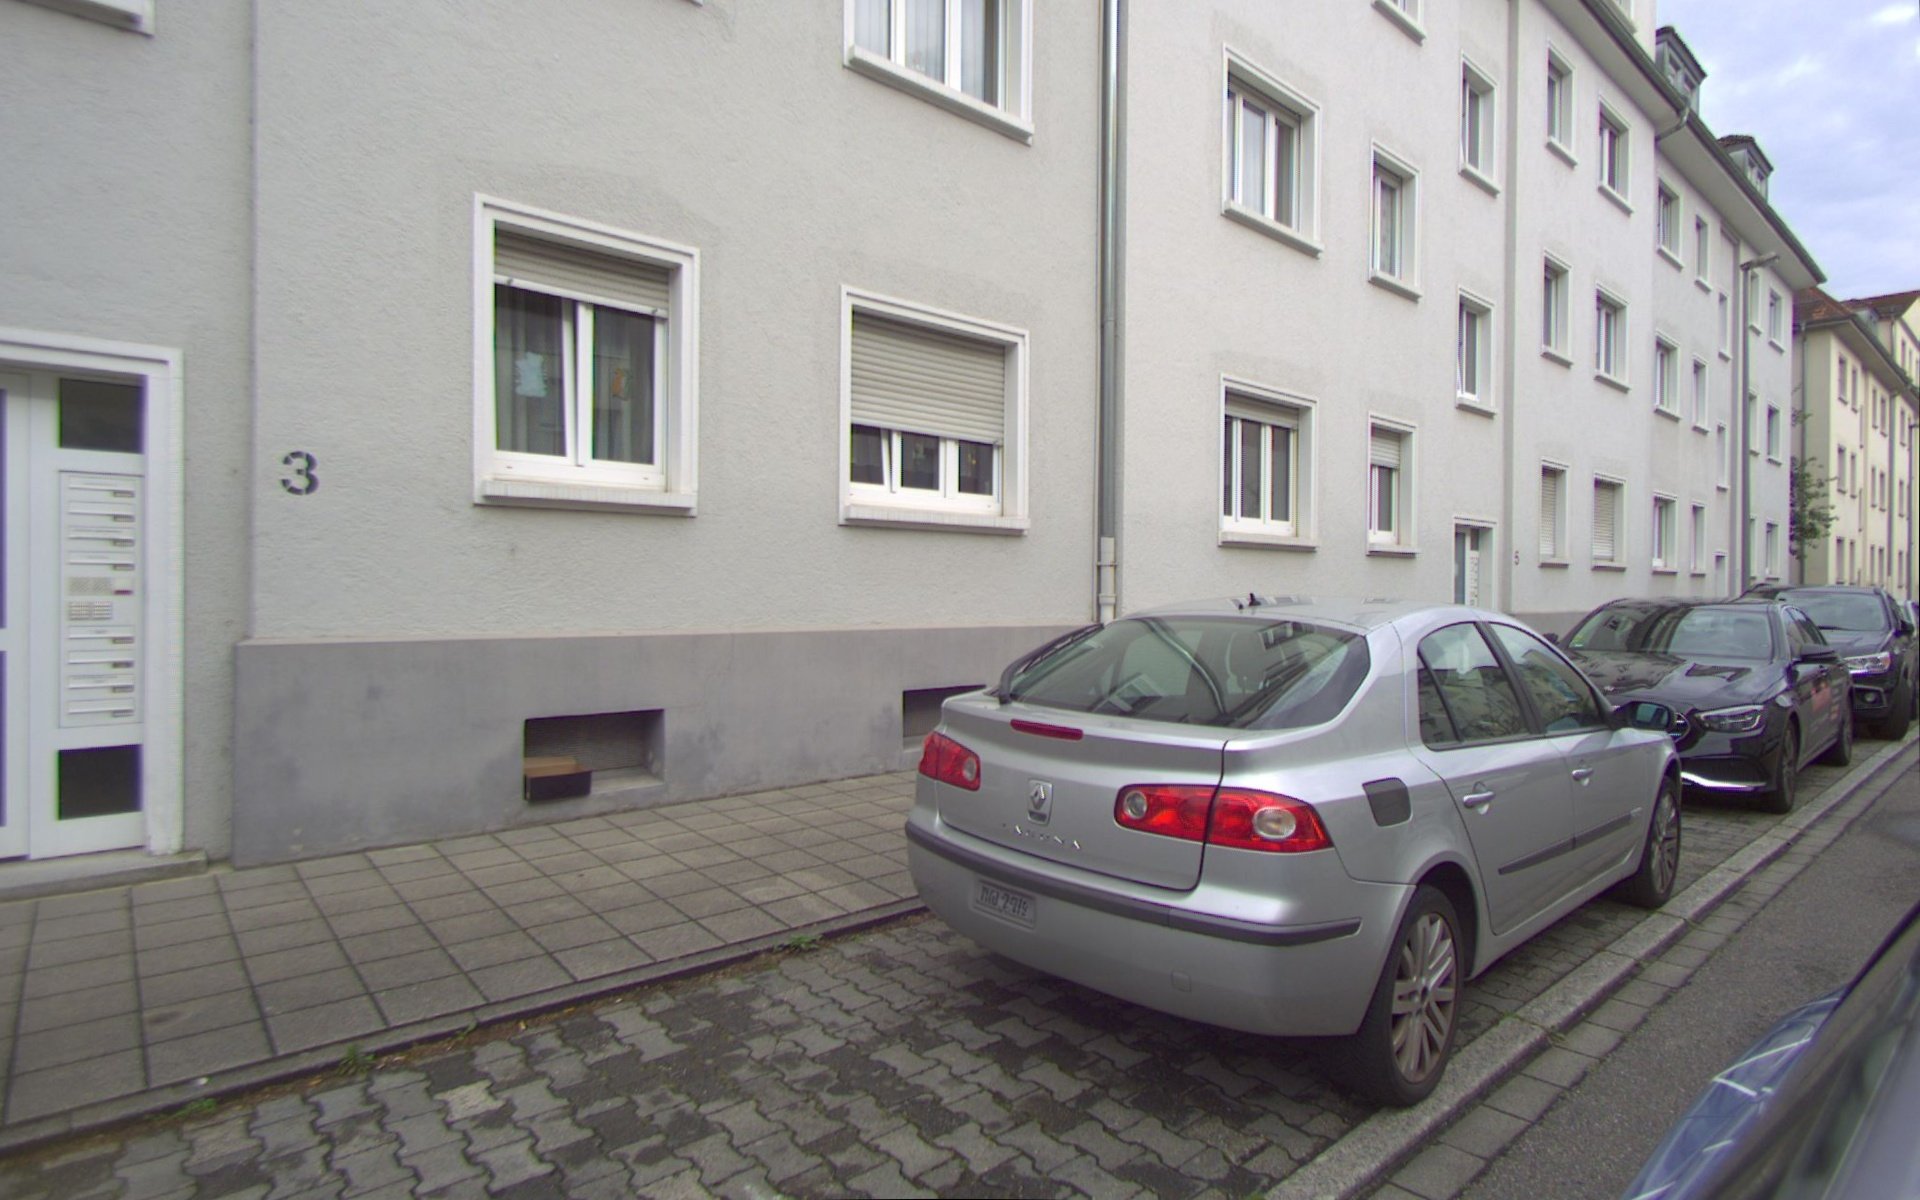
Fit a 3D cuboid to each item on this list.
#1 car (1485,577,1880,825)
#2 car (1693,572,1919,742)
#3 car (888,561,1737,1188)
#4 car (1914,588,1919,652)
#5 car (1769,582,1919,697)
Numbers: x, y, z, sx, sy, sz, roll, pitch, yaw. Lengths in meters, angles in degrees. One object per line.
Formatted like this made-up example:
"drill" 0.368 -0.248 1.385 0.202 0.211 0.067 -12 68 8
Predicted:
"car" 6.016 0.598 8.217 4.249 1.481 1.784 0 1 -43
"car" 10.099 0.523 11.714 4.089 1.619 1.850 0 1 -43
"car" 1.922 0.628 4.514 4.355 1.481 1.735 0 1 -43
"car" 25.328 0.490 25.410 3.615 1.566 1.735 -1 2 -43
"car" 13.659 0.516 15.201 3.691 1.505 1.735 0 1 -41
